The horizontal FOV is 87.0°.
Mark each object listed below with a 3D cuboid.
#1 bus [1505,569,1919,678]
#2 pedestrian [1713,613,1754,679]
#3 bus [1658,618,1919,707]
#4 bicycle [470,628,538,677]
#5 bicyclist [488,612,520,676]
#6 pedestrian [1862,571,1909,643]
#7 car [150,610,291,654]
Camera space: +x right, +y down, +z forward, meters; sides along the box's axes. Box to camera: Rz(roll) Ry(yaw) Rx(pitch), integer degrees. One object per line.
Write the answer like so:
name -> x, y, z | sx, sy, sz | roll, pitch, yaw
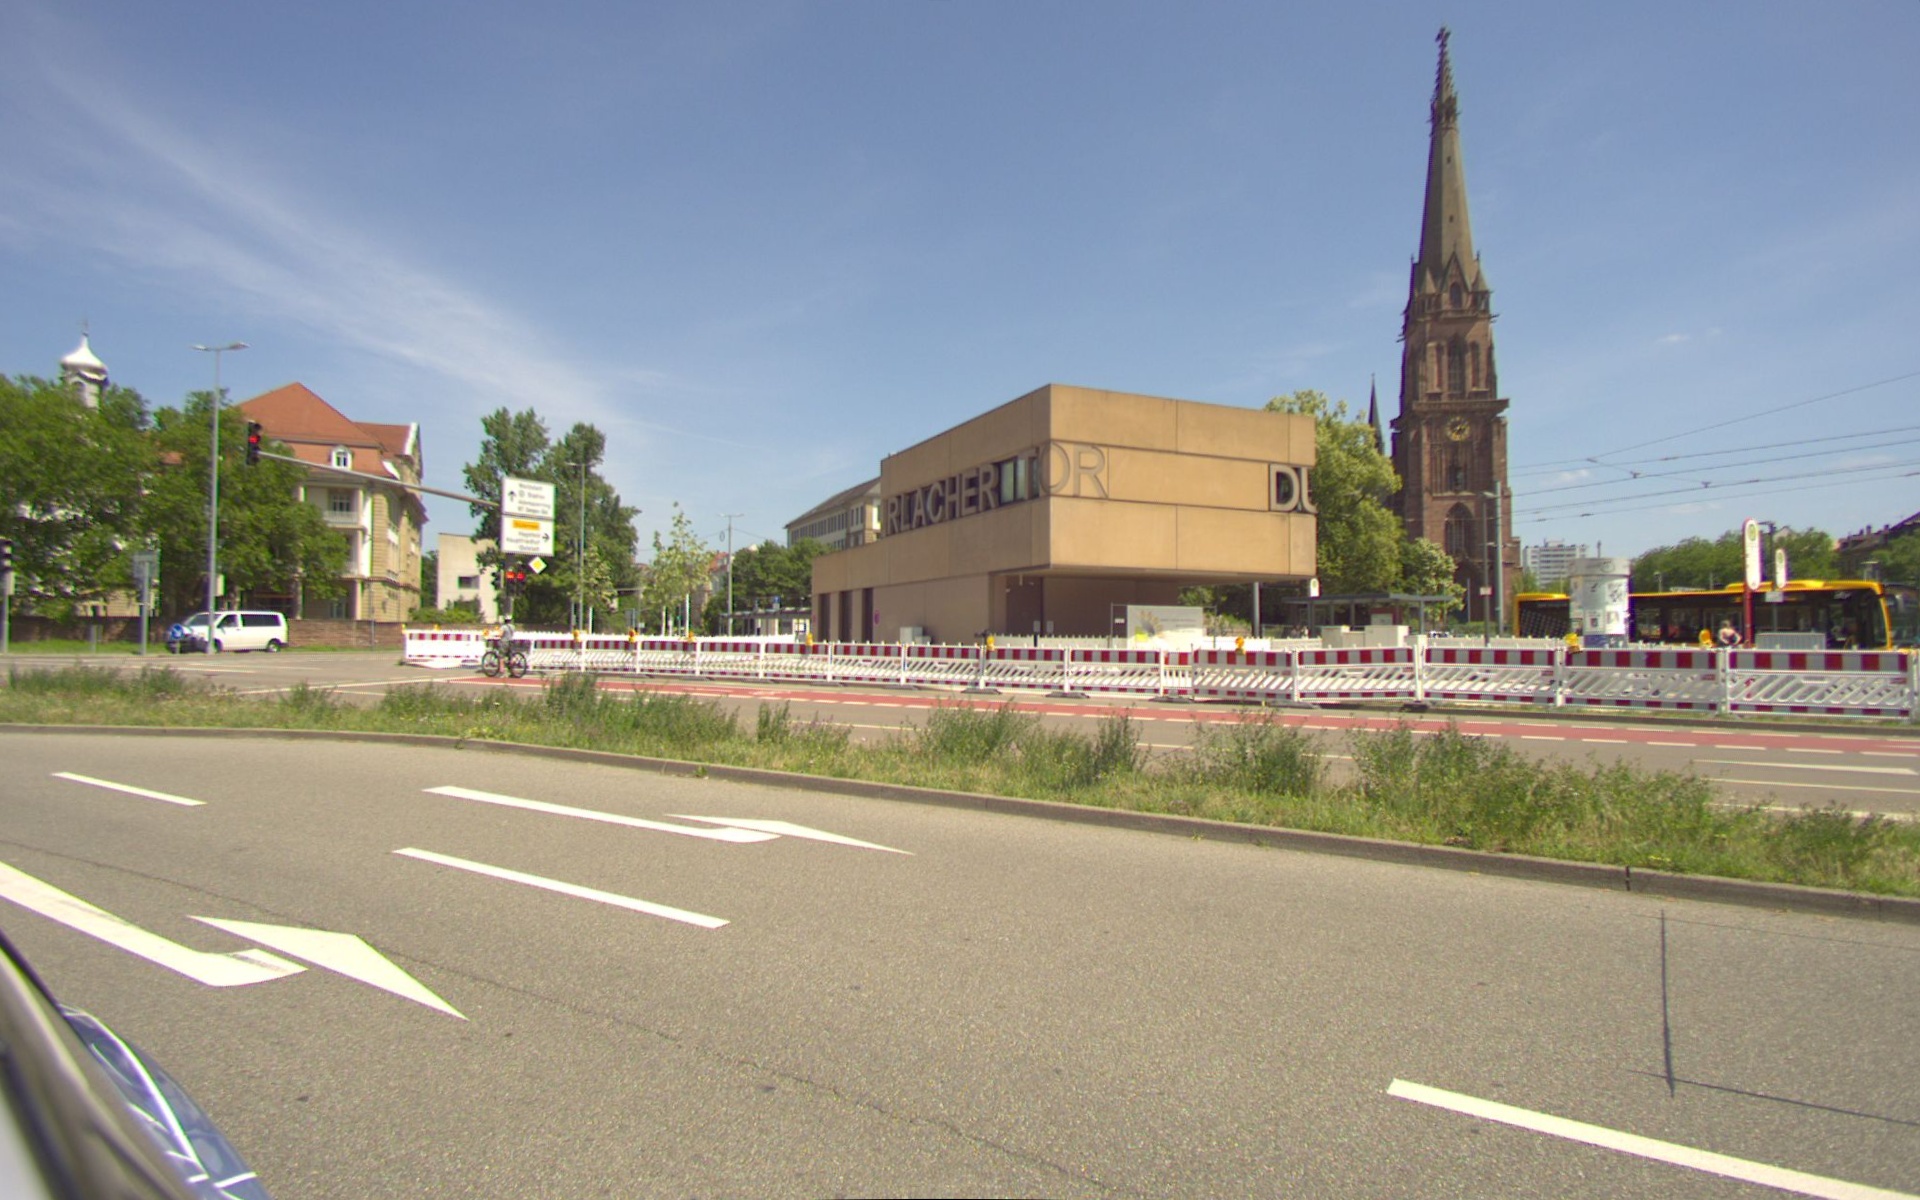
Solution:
bus -> 25.621, 0.843, 34.894 | 3.674, 3.064, 12.293 | 1, -2, -24
pedestrian -> 23.982, 1.427, 31.399 | 0.601, 2.011, 0.665 | -1, -3, -11
bus -> 13.944, 0.915, 15.005 | 5.802, 1.259, 1.234 | -4, -3, 33
bicycle -> -11.677, 1.334, 25.887 | 1.889, 1.189, 0.519 | 0, -2, 28
bicyclist -> -11.674, 1.120, 25.893 | 0.496, 1.591, 0.526 | 0, -2, 28
pedestrian -> 26.598, 0.208, 29.089 | 0.601, 2.011, 0.666 | -1, -3, -20
car -> -32.078, 1.407, 44.139 | 1.912, 1.808, 5.014 | 0, -2, 11
